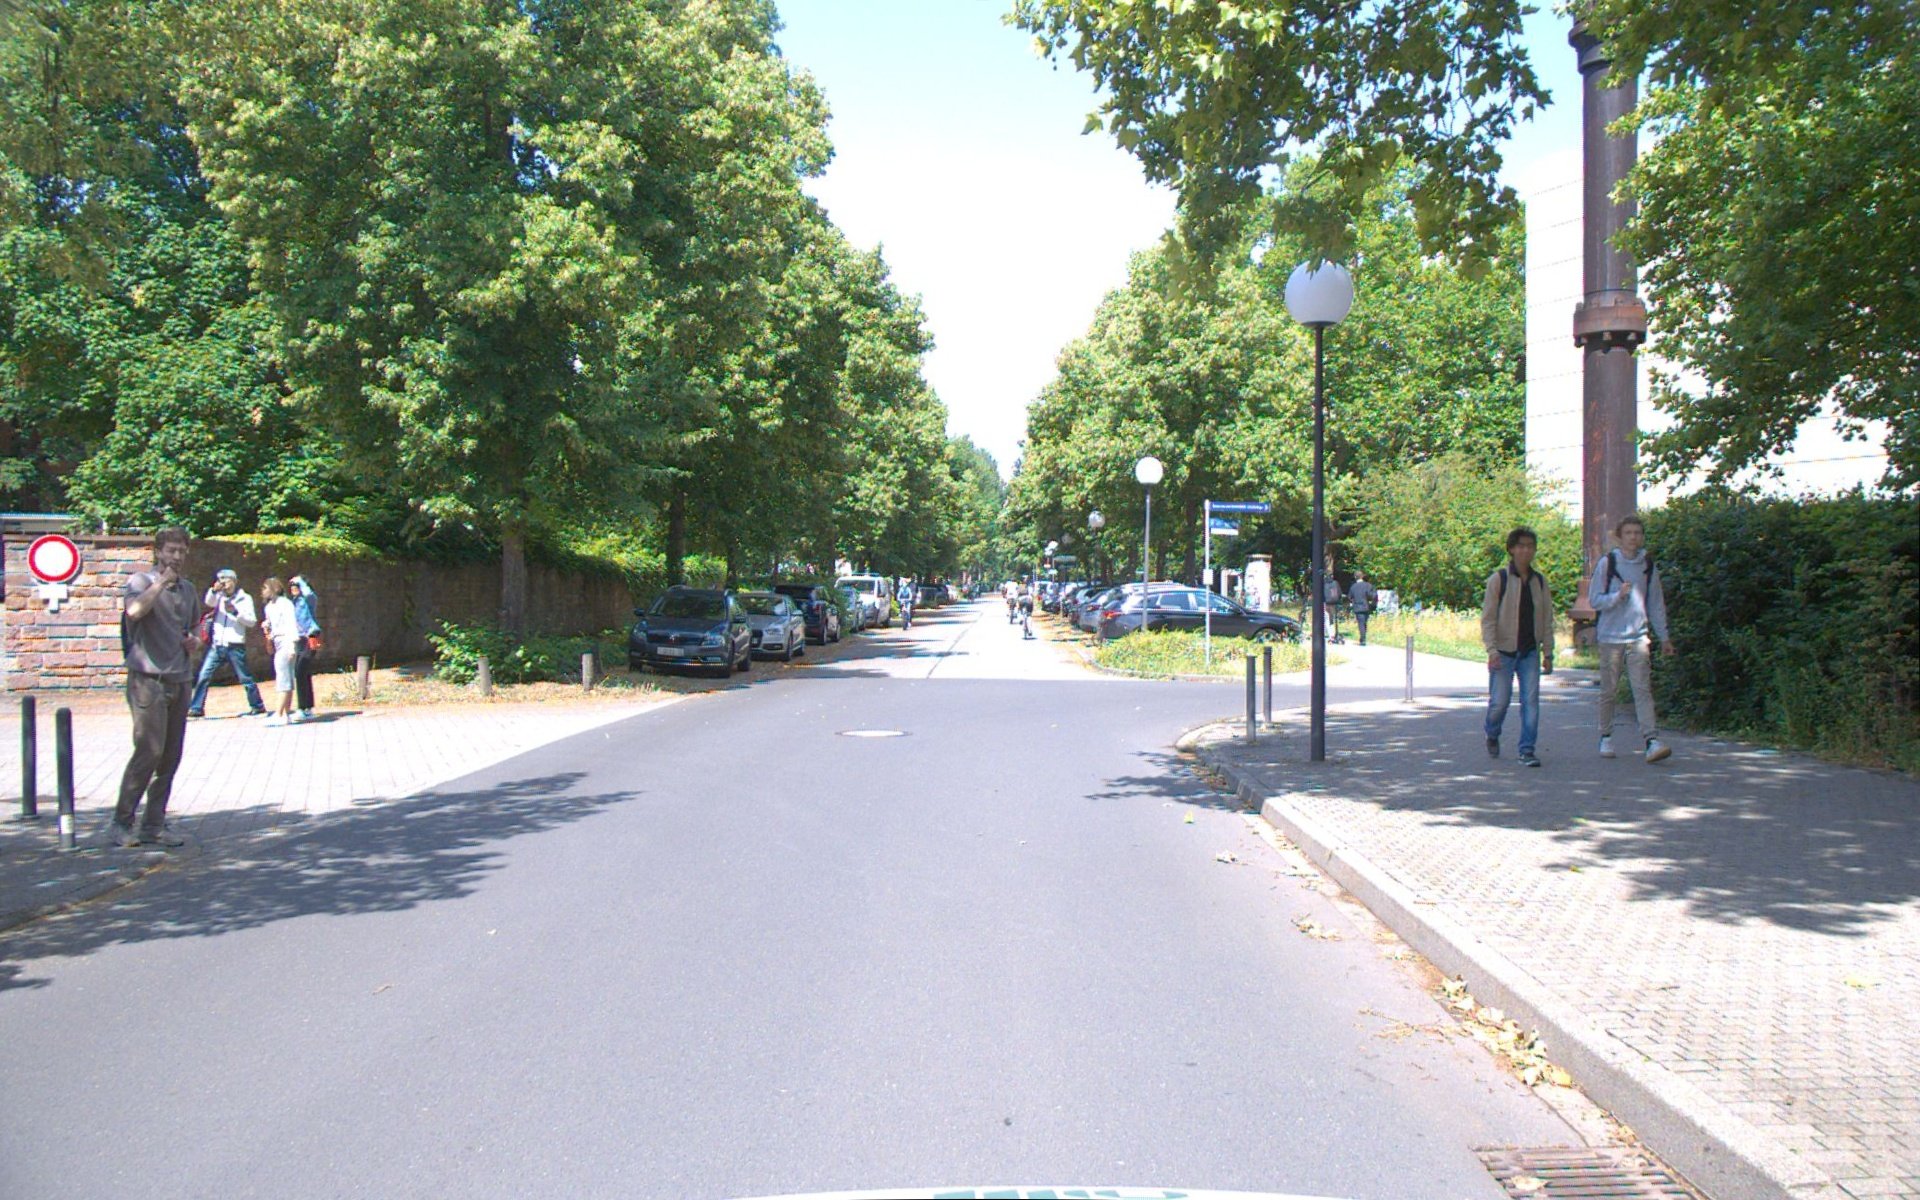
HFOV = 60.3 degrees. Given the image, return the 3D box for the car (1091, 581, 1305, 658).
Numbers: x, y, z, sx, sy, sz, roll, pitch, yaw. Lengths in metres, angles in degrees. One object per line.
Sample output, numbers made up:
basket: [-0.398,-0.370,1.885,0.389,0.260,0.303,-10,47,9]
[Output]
car: [5.119,0.402,35.973,4.393,1.552,1.811,-1,0,1]

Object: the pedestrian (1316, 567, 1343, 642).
pedestrian: [8.936,0.106,40.019,0.588,1.786,0.629,0,0,7]

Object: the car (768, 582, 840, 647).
car: [-4.247,0.370,45.560,1.582,1.708,4.000,0,0,0]

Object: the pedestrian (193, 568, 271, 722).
pedestrian: [-8.191,0.494,18.615,0.592,1.692,0.625,0,0,41]

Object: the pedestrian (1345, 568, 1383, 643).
pedestrian: [9.687,0.126,39.667,0.803,1.786,0.629,0,0,6]

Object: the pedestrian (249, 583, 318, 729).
pedestrian: [-7.339,0.588,17.941,0.580,1.553,0.487,0,0,-41]

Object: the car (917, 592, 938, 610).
car: [-2.593,0.091,132.299,1.583,1.388,3.999,0,0,-1]

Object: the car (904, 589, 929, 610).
car: [-2.882,-0.033,109.325,1.583,1.388,3.999,0,0,-1]

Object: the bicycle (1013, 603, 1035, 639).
bicycle: [1.887,0.616,49.030,0.601,1.018,1.423,0,0,0]

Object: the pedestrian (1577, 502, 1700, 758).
pedestrian: [5.199,0.223,12.718,0.657,1.905,0.792,0,0,4]

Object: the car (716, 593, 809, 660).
car: [-4.354,0.552,36.873,1.582,1.412,4.000,0,0,0]

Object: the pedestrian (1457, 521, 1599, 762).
pedestrian: [4.342,0.304,12.689,0.804,1.786,0.840,0,0,0]

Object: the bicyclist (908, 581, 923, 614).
bicyclist: [-1.808,-0.107,67.464,0.596,1.318,0.611,0,0,0]

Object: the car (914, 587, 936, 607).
car: [-2.499,-0.228,119.150,1.583,1.388,4.561,0,0,-1]

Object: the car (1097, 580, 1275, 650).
car: [5.535,0.363,40.874,4.169,1.616,1.811,-1,0,1]

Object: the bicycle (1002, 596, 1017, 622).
bicycle: [2.004,0.354,67.111,0.601,1.018,1.423,0,0,0]

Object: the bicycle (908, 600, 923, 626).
bicycle: [-1.809,0.519,67.430,0.601,1.018,1.423,0,0,0]

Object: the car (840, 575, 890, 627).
car: [-3.467,0.029,60.870,1.582,1.847,4.000,0,0,0]

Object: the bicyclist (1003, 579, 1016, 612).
bicyclist: [1.992,-0.176,67.135,0.511,1.318,0.611,0,0,0]

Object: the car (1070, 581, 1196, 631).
car: [5.942,0.192,57.142,4.169,1.616,1.920,-1,0,1]

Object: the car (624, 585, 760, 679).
car: [-4.657,0.512,29.236,1.724,1.548,4.111,0,0,0]

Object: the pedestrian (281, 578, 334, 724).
pedestrian: [-7.357,0.562,18.652,0.489,1.613,0.489,0,0,-30]

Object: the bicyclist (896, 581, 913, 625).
bicyclist: [-1.951,0.088,57.995,0.551,1.524,0.827,0,0,0]

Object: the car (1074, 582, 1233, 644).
car: [5.291,0.347,45.624,4.169,1.616,1.811,-1,0,1]

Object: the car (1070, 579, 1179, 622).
car: [6.526,0.030,66.001,4.169,1.616,1.920,-1,0,1]

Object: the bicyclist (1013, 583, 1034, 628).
bicyclist: [1.887,0.149,48.918,0.597,1.318,0.611,0,0,0]

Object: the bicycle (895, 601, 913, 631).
bicycle: [-1.953,0.552,58.024,0.566,1.018,1.423,0,0,0]

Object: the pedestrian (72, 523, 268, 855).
pedestrian: [-4.721,0.505,9.915,0.709,1.889,0.792,0,0,18]
